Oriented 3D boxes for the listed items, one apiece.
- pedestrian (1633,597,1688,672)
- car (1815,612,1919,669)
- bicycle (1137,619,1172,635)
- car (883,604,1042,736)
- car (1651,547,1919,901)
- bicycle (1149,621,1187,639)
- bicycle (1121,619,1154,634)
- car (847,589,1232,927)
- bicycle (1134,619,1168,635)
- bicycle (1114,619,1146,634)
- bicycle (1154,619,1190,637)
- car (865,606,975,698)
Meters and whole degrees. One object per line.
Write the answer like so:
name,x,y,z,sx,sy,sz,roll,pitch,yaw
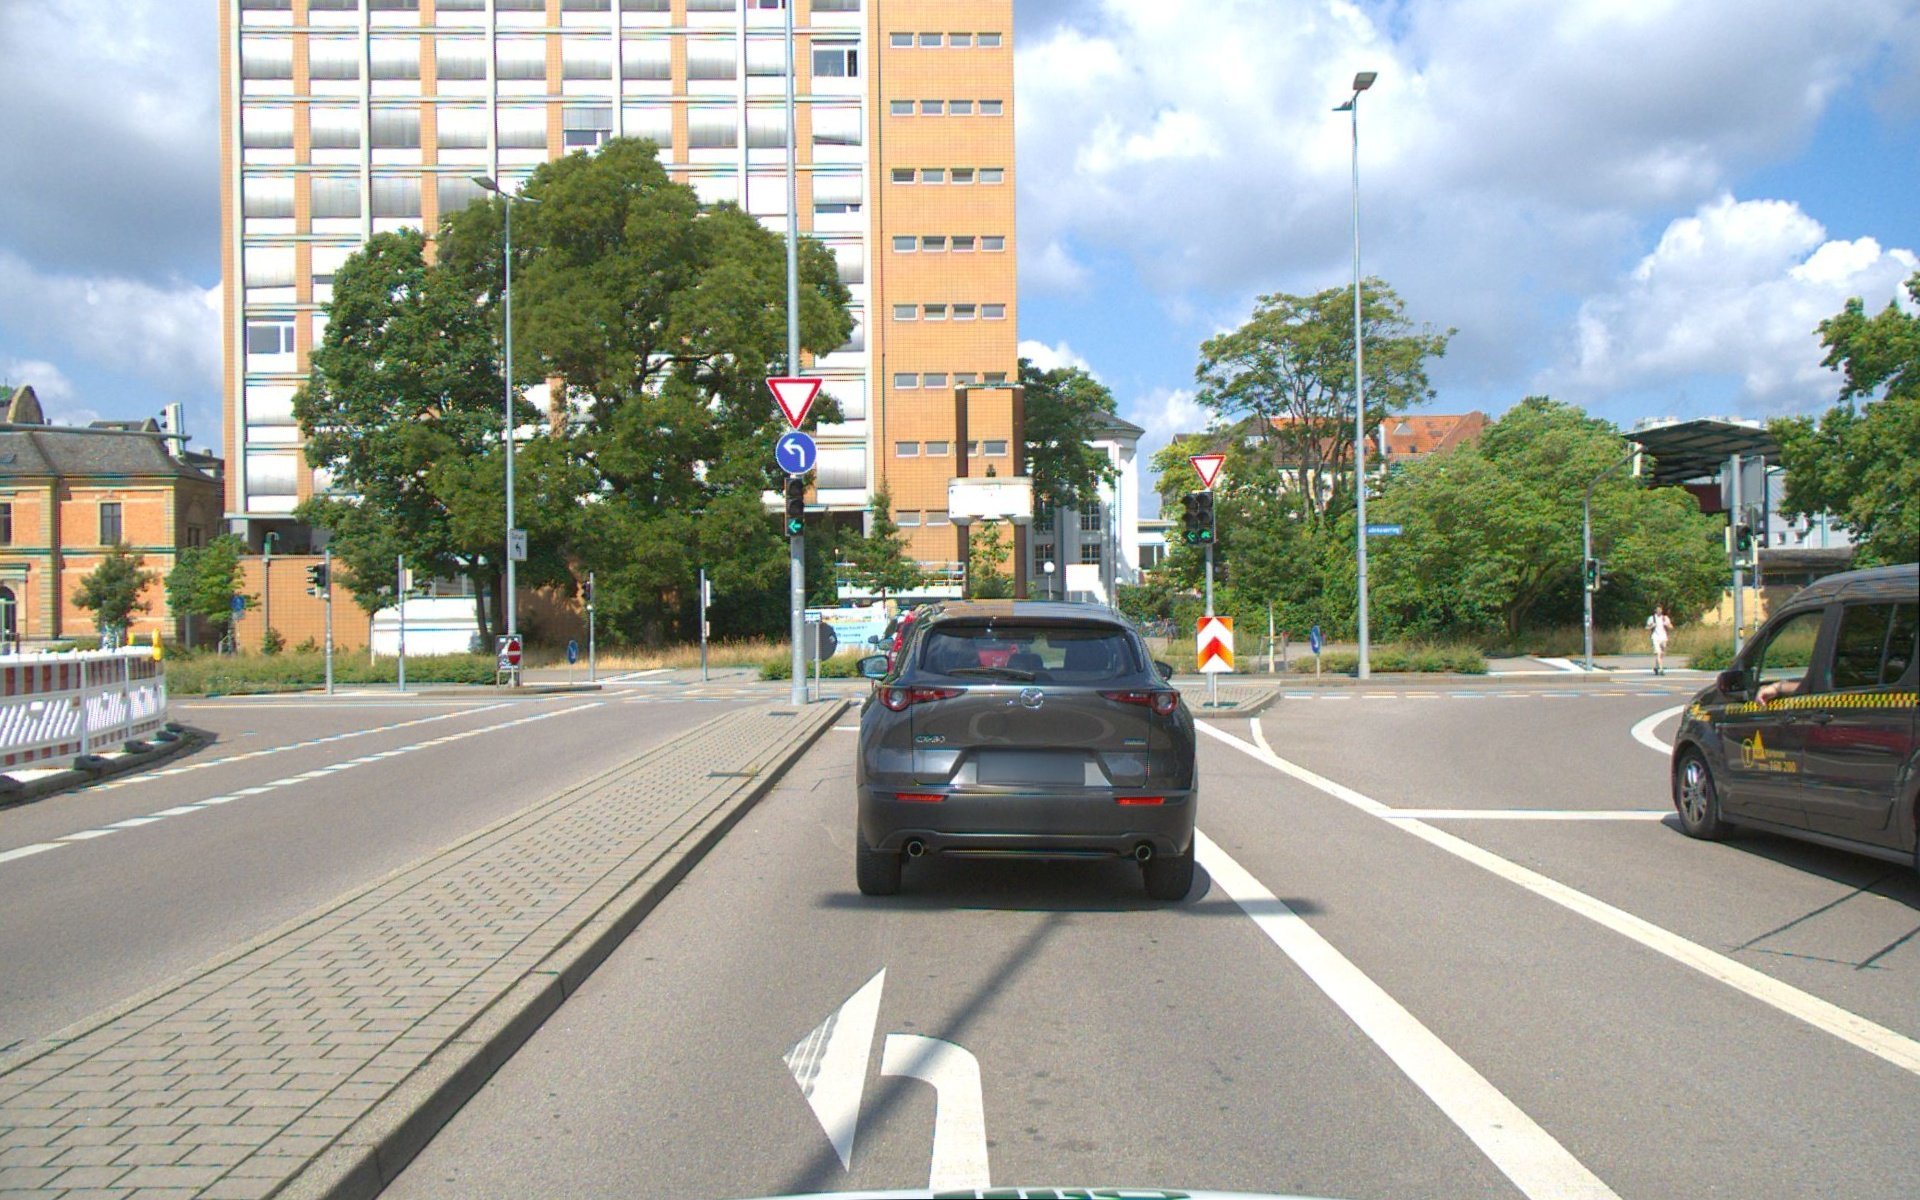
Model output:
pedestrian,18.226,0.904,43.045,0.684,1.890,1.177,-1,-3,-11
car,25.500,1.064,44.410,4.061,1.401,2.000,-1,0,1
bicycle,11.930,1.677,101.506,2.013,0.953,0.804,-1,-1,-2
car,0.096,0.822,20.681,1.778,1.465,4.068,1,-1,2
car,5.864,0.647,9.645,1.810,1.816,4.672,0,0,1
bicycle,11.834,1.698,94.055,2.013,0.953,0.804,-1,-1,-2
bicycle,11.379,1.713,106.240,2.013,0.953,0.804,-1,-1,-2
car,0.338,0.753,9.837,1.769,1.534,4.204,2,0,-1
bicycle,11.847,1.684,102.510,2.013,0.953,0.804,-1,-1,-2
bicycle,11.405,1.760,111.099,2.013,0.953,0.804,-1,-1,-2
bicycle,12.398,1.640,96.805,2.013,0.953,0.804,-1,-1,-2
car,-0.664,0.887,29.853,1.810,1.498,4.335,-1,-1,0
